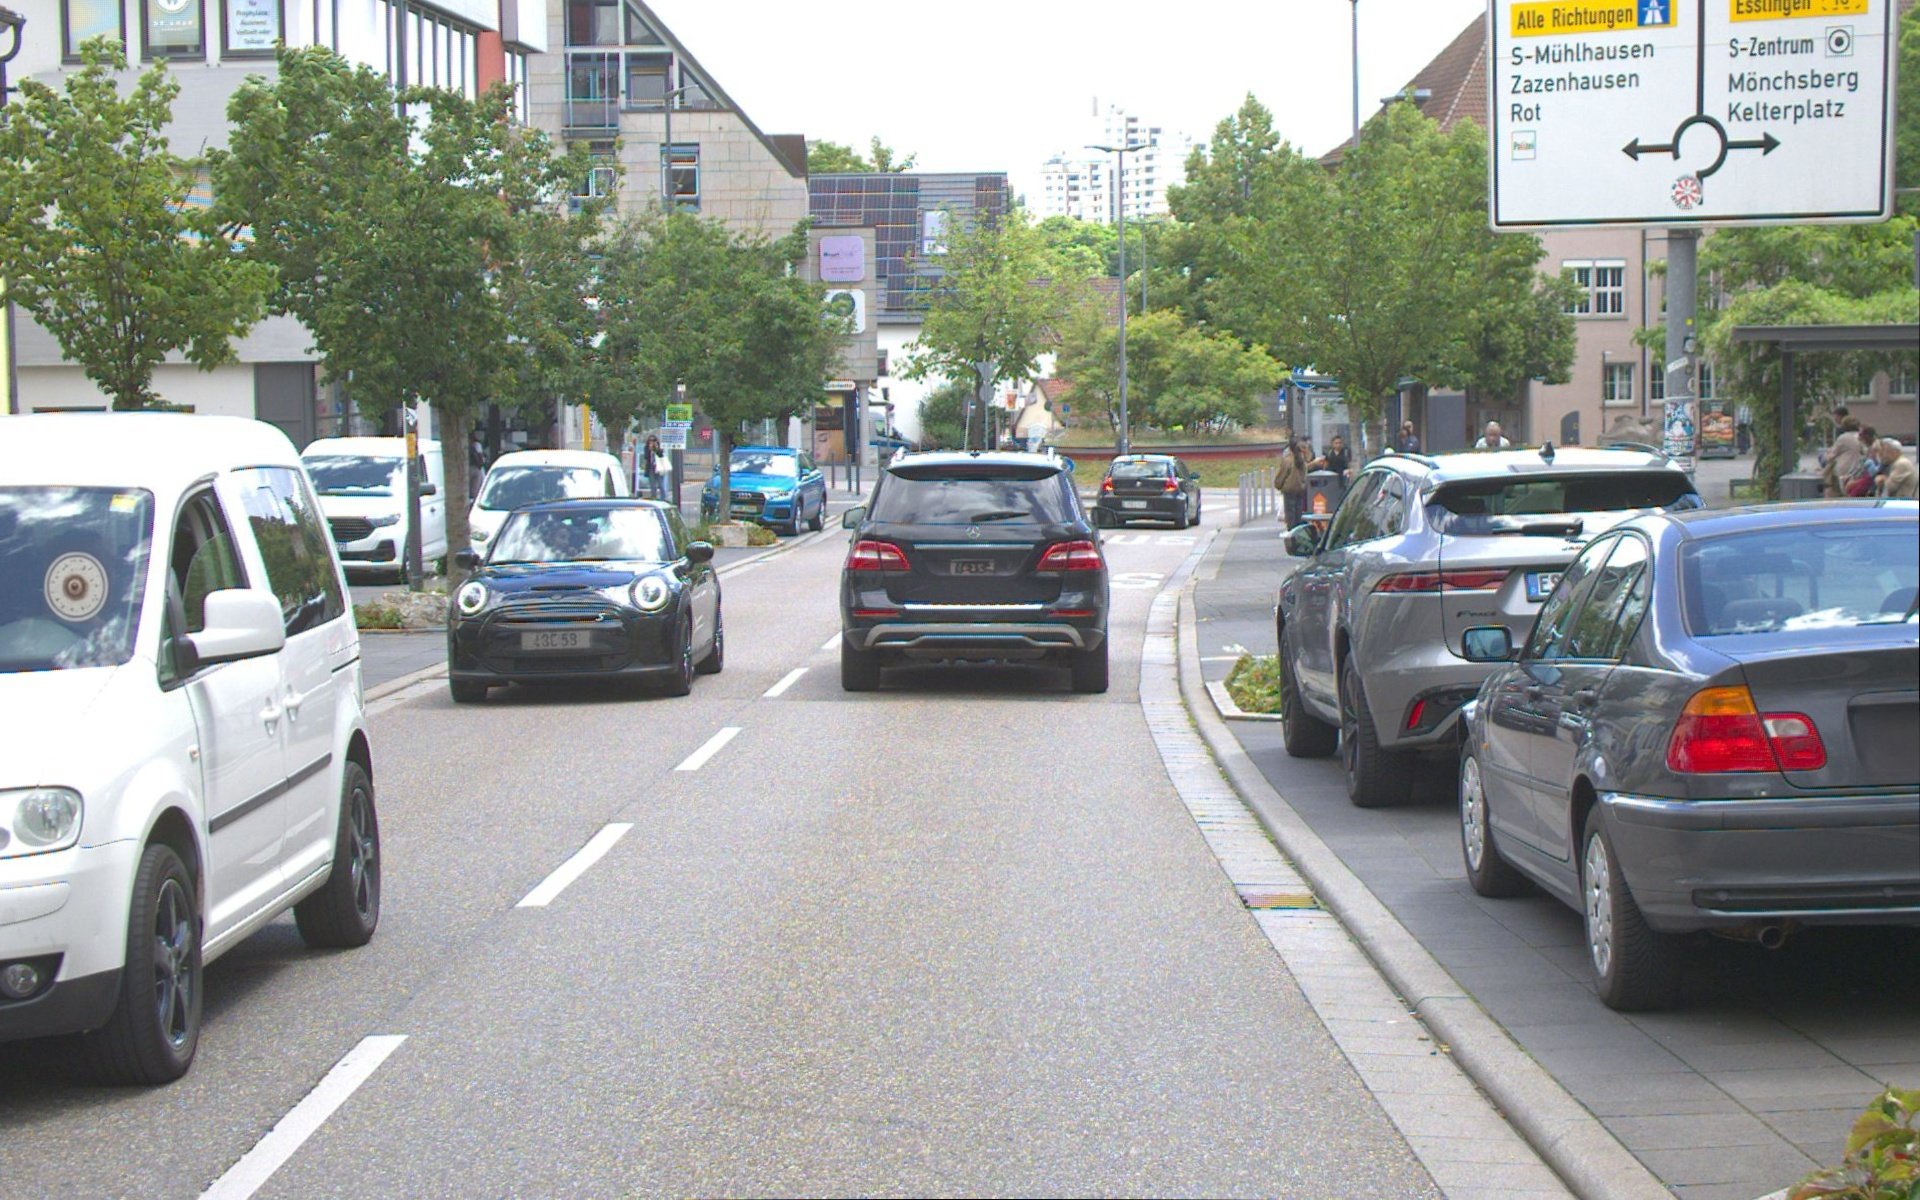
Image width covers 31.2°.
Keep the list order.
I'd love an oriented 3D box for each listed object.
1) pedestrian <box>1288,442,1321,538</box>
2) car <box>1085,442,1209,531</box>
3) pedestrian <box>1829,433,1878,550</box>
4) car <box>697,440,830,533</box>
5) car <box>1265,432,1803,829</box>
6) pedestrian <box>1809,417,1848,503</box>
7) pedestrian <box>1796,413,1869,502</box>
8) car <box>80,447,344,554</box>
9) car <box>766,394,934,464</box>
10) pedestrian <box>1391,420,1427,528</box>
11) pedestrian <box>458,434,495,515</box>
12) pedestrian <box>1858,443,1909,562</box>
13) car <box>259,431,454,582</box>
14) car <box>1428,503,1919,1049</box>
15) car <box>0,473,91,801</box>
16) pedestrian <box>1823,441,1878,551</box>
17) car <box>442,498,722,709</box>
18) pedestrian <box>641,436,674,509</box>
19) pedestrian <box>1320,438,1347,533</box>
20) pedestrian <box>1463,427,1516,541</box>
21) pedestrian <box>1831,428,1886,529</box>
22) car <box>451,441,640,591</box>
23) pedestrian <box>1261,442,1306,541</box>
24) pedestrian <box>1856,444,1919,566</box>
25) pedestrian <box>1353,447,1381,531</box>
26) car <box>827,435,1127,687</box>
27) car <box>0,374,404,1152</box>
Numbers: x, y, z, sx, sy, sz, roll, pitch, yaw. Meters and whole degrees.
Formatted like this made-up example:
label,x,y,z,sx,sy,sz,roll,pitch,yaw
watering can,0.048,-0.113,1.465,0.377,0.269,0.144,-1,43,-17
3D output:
label,x,y,z,sx,sy,sz,roll,pitch,yaw
pedestrian,5.669,-1.810,56.612,0.500,1.560,0.498,-1,3,7
car,3.677,-2.236,66.849,2.053,1.582,4.372,3,3,7
pedestrian,10.336,-1.257,39.779,0.498,1.316,0.525,-1,5,9
car,-3.651,-2.160,64.549,1.695,1.594,4.331,3,3,7
car,2.726,0.046,17.379,1.928,1.718,4.574,-1,2,0
pedestrian,13.393,-2.164,53.003,0.568,1.319,0.545,1,3,14
pedestrian,12.493,-2.051,49.241,0.770,1.264,0.675,3,4,41
car,-11.150,-1.498,51.415,3.627,1.553,1.669,0,3,-2
car,-4.367,-6.754,136.117,6.283,2.551,2.207,1,0,-16
pedestrian,7.063,-1.986,54.089,0.511,1.674,0.576,-1,3,5
pedestrian,-9.484,-2.470,67.387,0.584,1.561,0.645,-2,3,-15
pedestrian,10.503,-1.114,39.110,0.495,1.316,0.575,-1,5,8
car,-7.681,-1.239,44.109,1.756,1.807,4.477,1,3,-1
car,2.615,0.426,11.107,1.681,1.412,4.371,-1,1,1
car,-5.666,0.195,16.833,1.665,1.640,4.134,1,2,2
pedestrian,10.486,-1.224,40.475,0.568,1.257,0.541,-1,5,9
car,-2.741,-0.028,25.589,1.606,1.383,3.629,-2,2,1
pedestrian,-6.583,-2.778,74.767,0.587,1.582,0.638,1,3,6
pedestrian,6.144,-1.887,56.582,0.393,1.560,0.352,-1,3,9
pedestrian,7.854,-1.728,51.015,0.685,1.676,0.714,0,3,15
pedestrian,11.801,-1.600,45.148,0.624,1.303,0.546,-1,3,9
car,-4.904,-1.053,41.125,1.656,1.666,4.351,1,3,1
pedestrian,5.097,-1.708,54.213,0.513,1.543,0.486,0,3,31
pedestrian,10.388,-1.071,38.483,0.616,1.316,0.586,-1,5,8
pedestrian,6.413,-1.754,54.151,0.389,1.301,0.355,-2,3,6
car,0.033,-0.303,25.912,2.027,1.721,4.434,0,1,-3
car,-2.889,0.356,10.079,1.746,1.796,4.212,-2,2,0
